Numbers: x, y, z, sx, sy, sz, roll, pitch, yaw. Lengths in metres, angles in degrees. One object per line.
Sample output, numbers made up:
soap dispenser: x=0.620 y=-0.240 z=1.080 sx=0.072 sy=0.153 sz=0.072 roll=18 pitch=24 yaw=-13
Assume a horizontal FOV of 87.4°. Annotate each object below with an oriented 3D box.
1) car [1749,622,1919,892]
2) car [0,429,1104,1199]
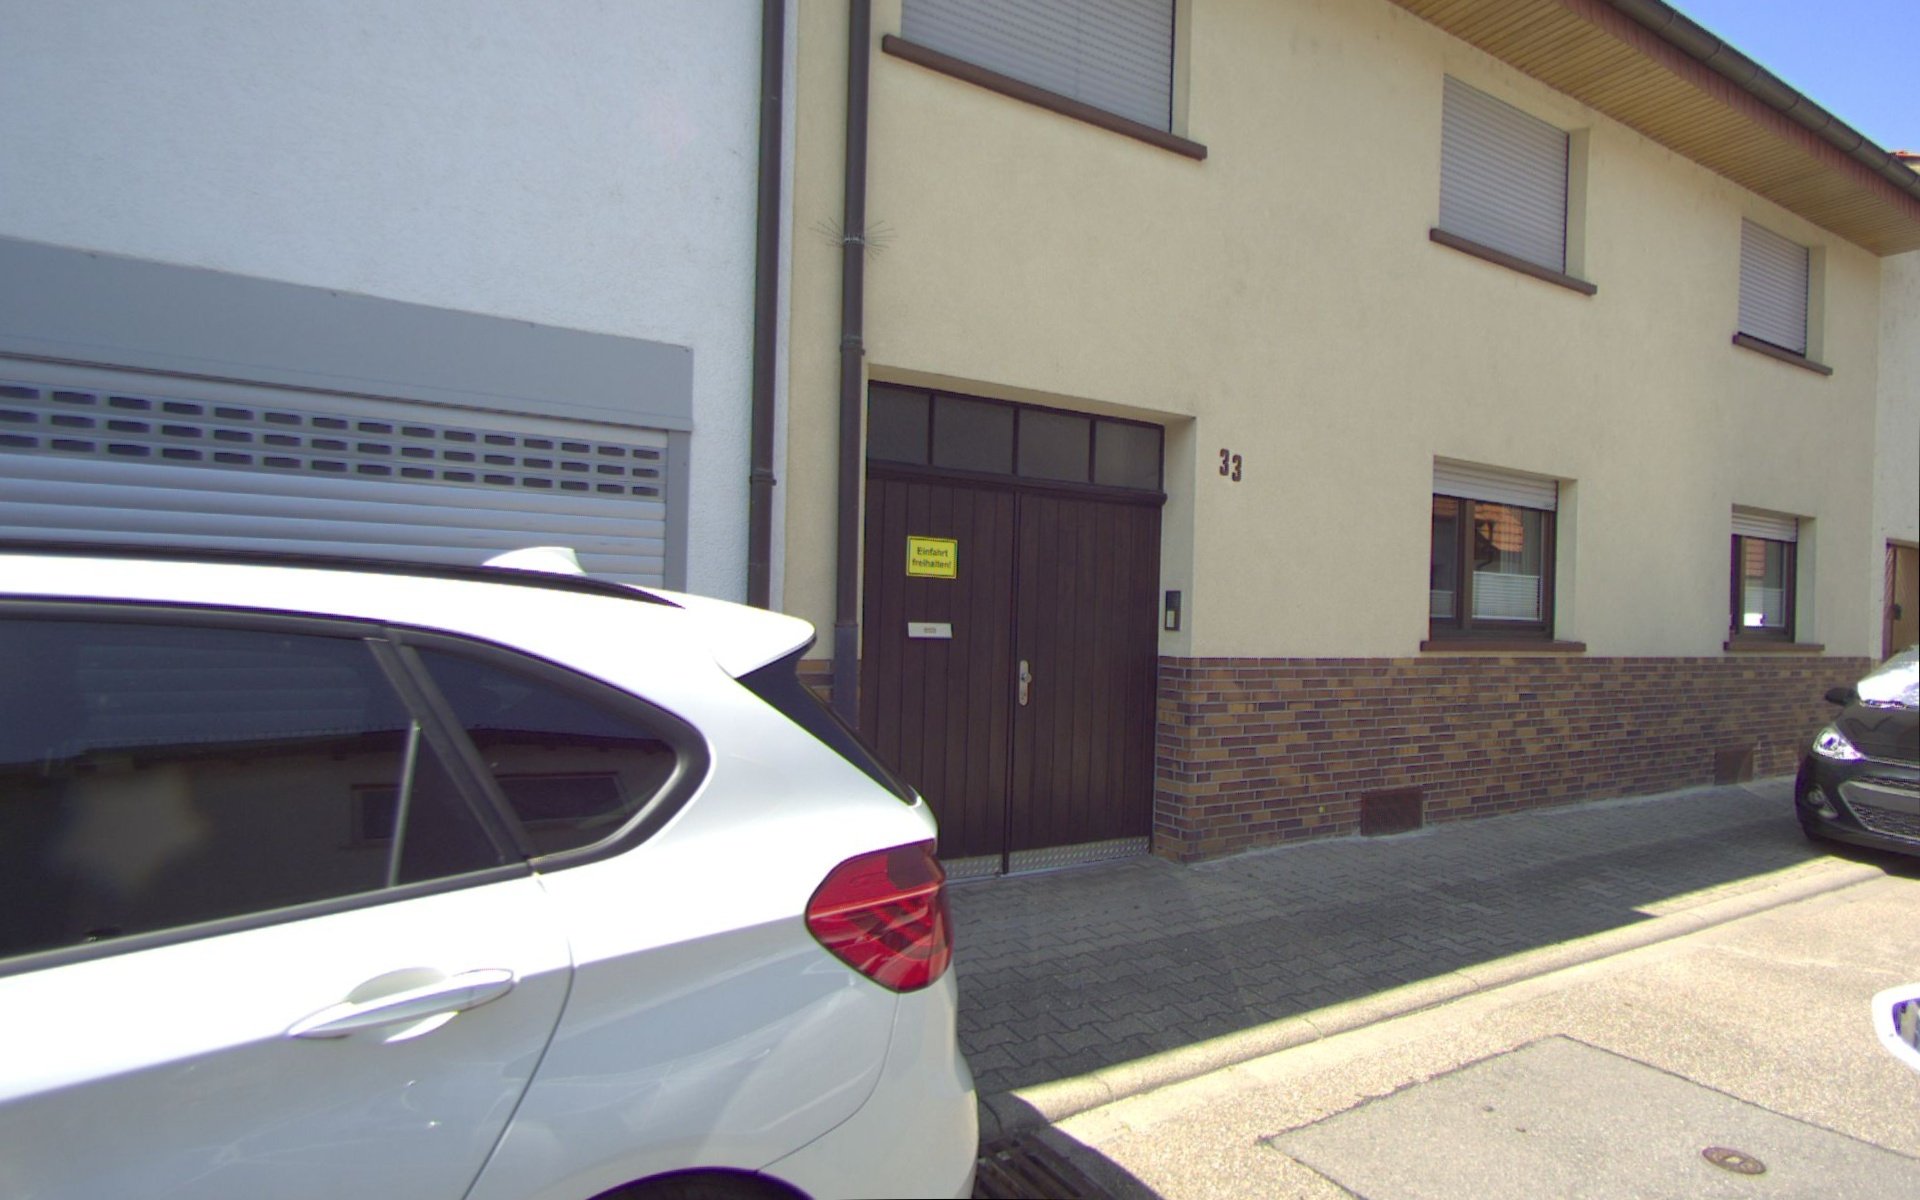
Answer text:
car: x=7.204 y=0.969 z=6.874 sx=3.898 sy=1.558 sz=1.631 roll=2 pitch=-2 yaw=-32
car: x=-1.802 y=0.616 z=1.489 sx=3.900 sy=1.569 sz=1.653 roll=0 pitch=-1 yaw=-33
